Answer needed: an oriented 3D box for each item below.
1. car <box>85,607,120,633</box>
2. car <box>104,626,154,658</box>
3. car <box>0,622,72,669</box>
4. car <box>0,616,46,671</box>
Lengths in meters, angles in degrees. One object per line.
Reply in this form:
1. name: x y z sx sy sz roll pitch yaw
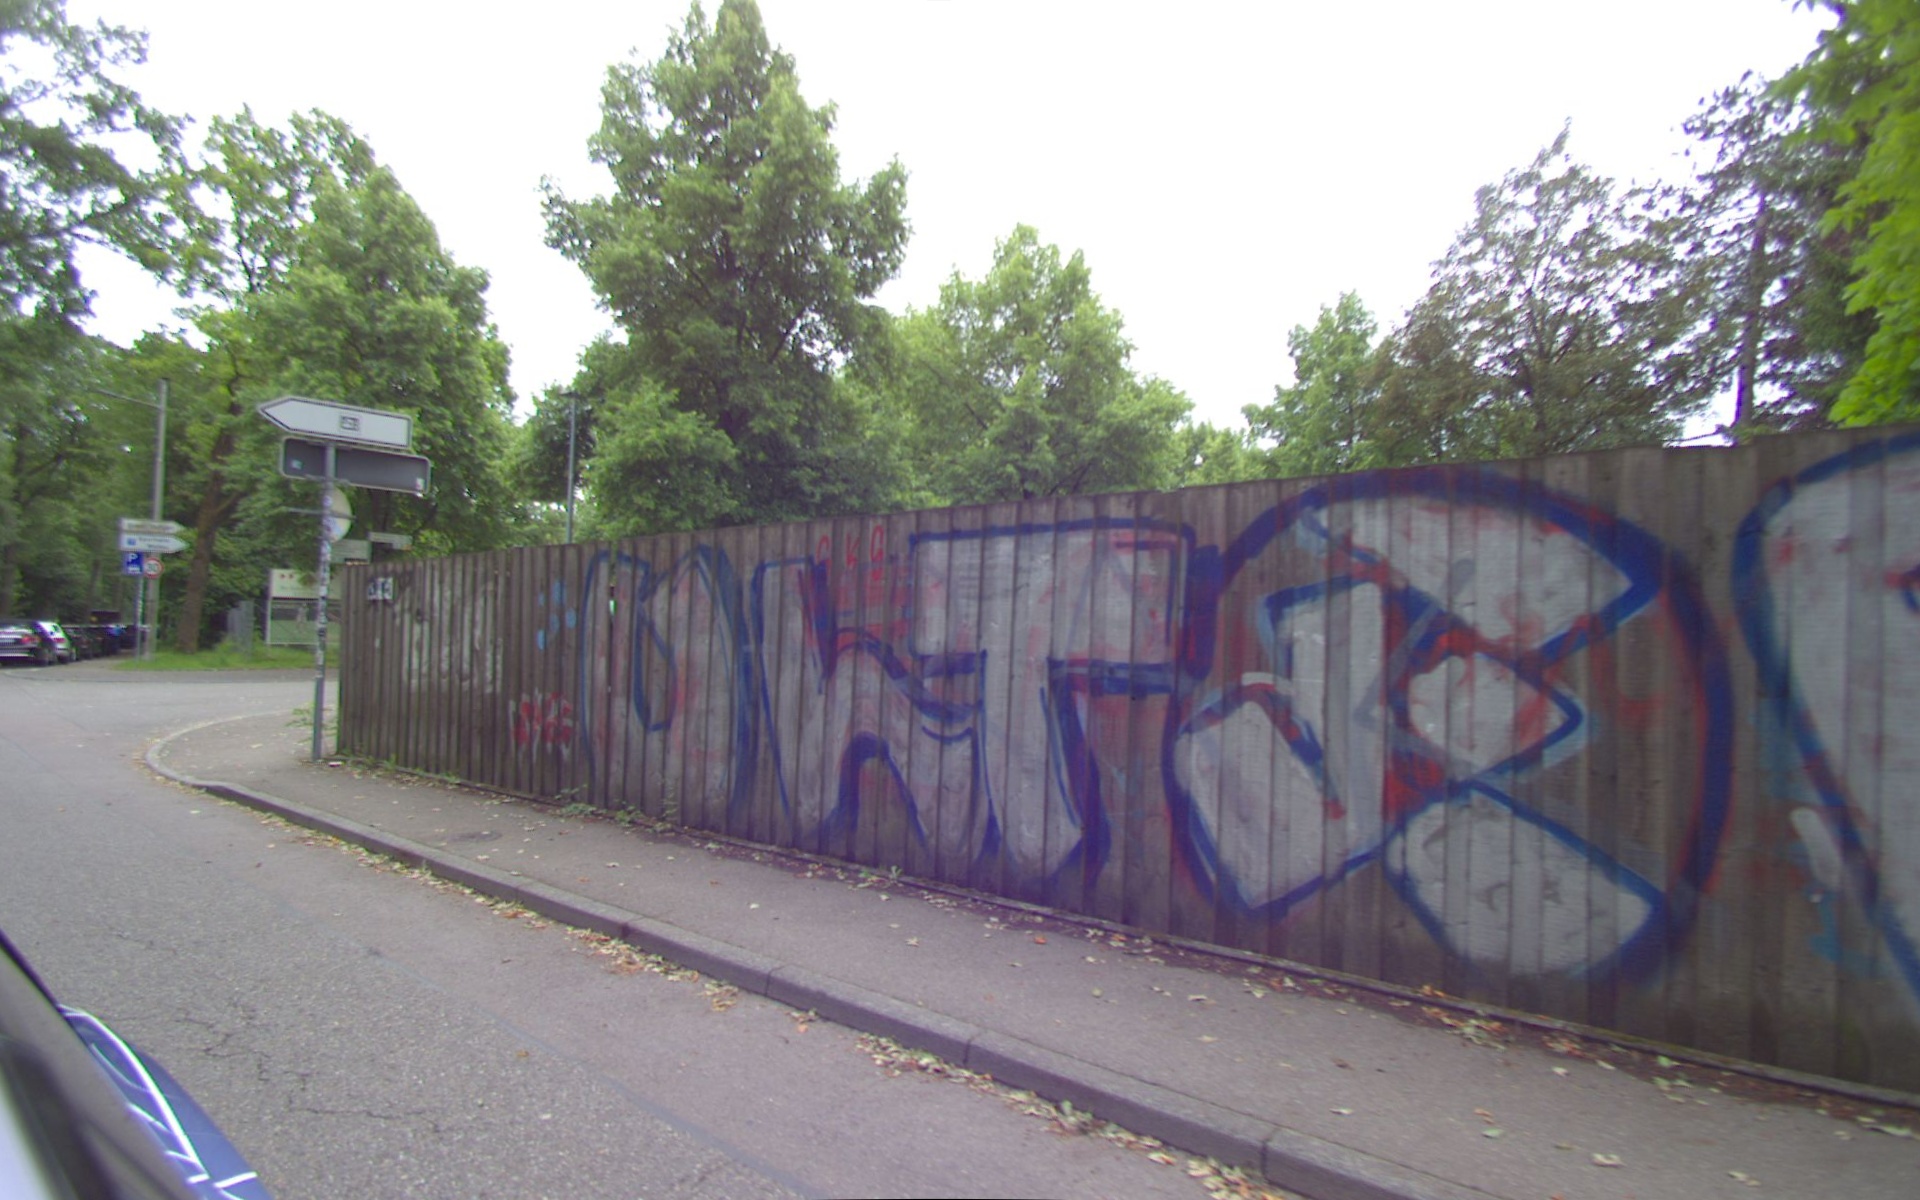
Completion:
1. car: -85.428 2.017 100.827 2.541 2.554 4.944 2 -2 -40
2. car: -45.690 2.318 55.648 1.928 1.631 3.644 5 -4 -41
3. car: -30.480 1.500 33.032 1.968 1.431 4.008 2 -4 -38
4. car: -27.607 1.283 28.995 1.743 1.506 4.335 2 -4 -38
